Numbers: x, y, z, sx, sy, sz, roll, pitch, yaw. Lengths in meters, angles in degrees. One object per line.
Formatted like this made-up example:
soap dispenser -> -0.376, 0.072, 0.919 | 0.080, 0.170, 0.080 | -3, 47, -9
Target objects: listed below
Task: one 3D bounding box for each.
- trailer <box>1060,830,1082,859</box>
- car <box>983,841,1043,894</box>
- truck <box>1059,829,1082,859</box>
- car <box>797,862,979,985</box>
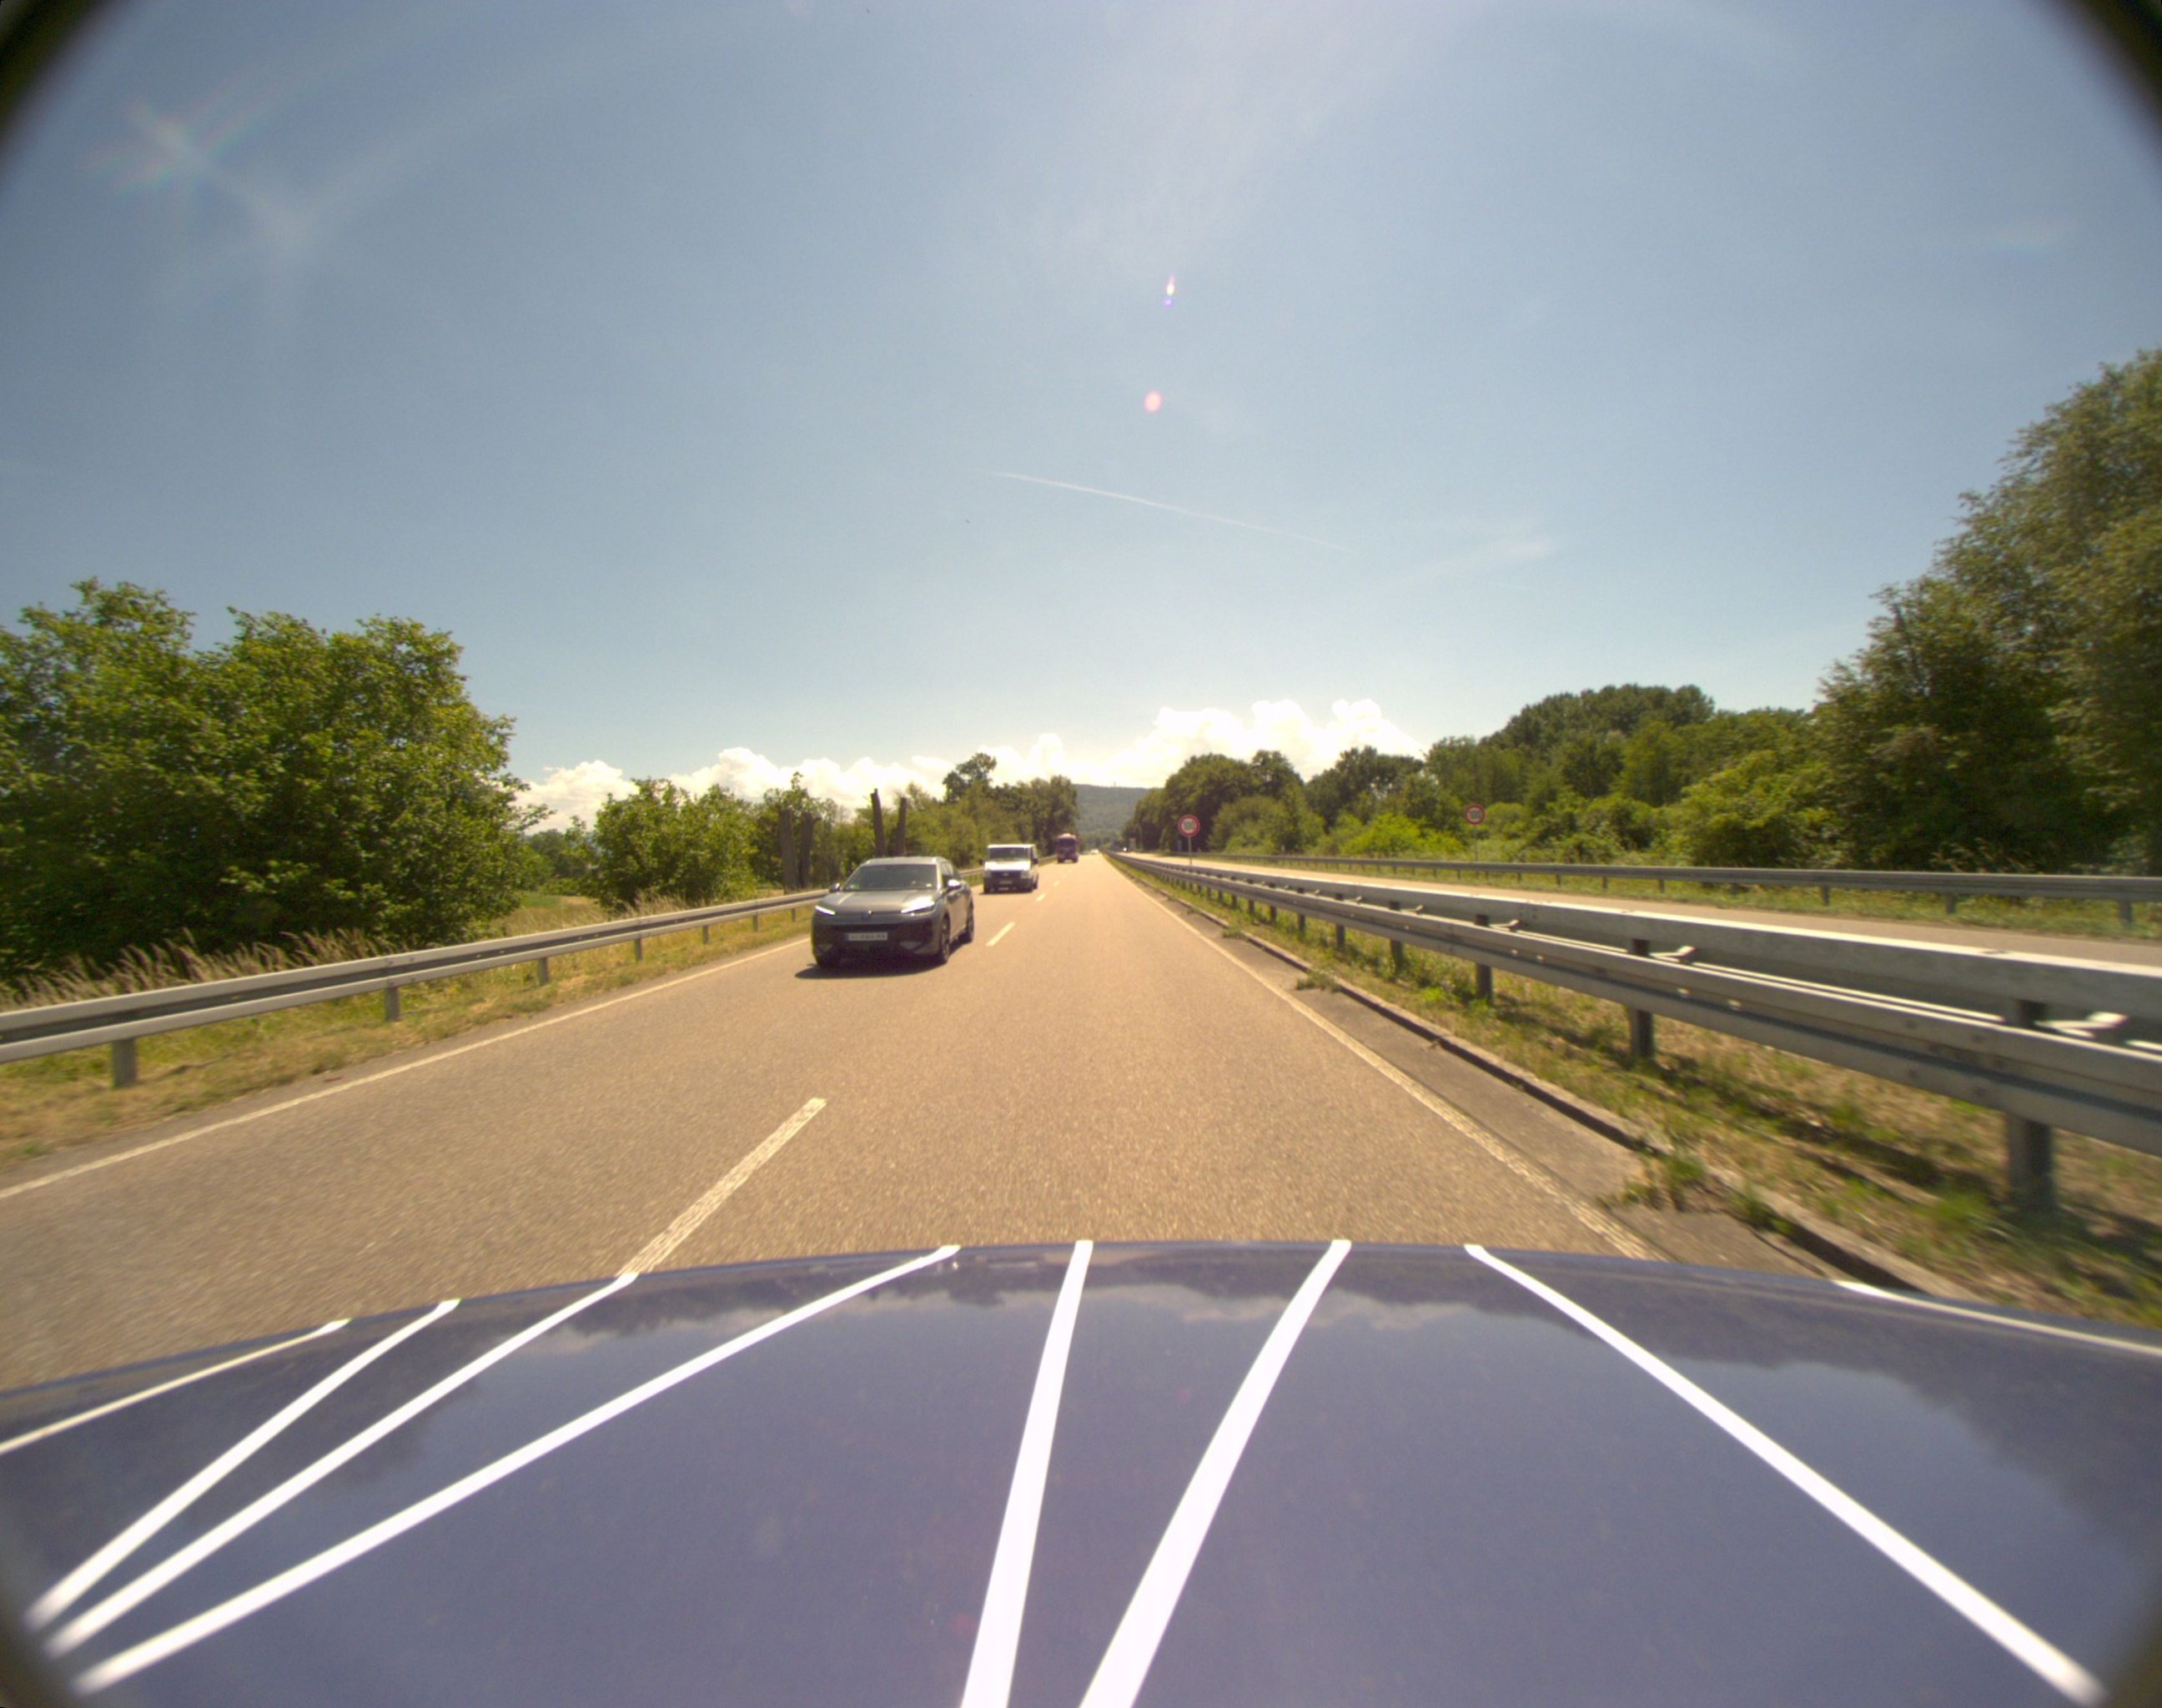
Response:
trailer -> -1.278, -1.221, 105.286 | 2.605, 3.607, 8.615 | -4, -1, 1
car -> -2.777, 0.520, 31.991 | 2.011, 1.977, 5.034 | -2, 0, 0
truck -> -1.348, -1.272, 101.066 | 2.605, 3.669, 5.939 | -4, -1, 1
car -> -2.795, 0.927, 11.948 | 1.789, 1.544, 4.019 | -1, 0, 0
